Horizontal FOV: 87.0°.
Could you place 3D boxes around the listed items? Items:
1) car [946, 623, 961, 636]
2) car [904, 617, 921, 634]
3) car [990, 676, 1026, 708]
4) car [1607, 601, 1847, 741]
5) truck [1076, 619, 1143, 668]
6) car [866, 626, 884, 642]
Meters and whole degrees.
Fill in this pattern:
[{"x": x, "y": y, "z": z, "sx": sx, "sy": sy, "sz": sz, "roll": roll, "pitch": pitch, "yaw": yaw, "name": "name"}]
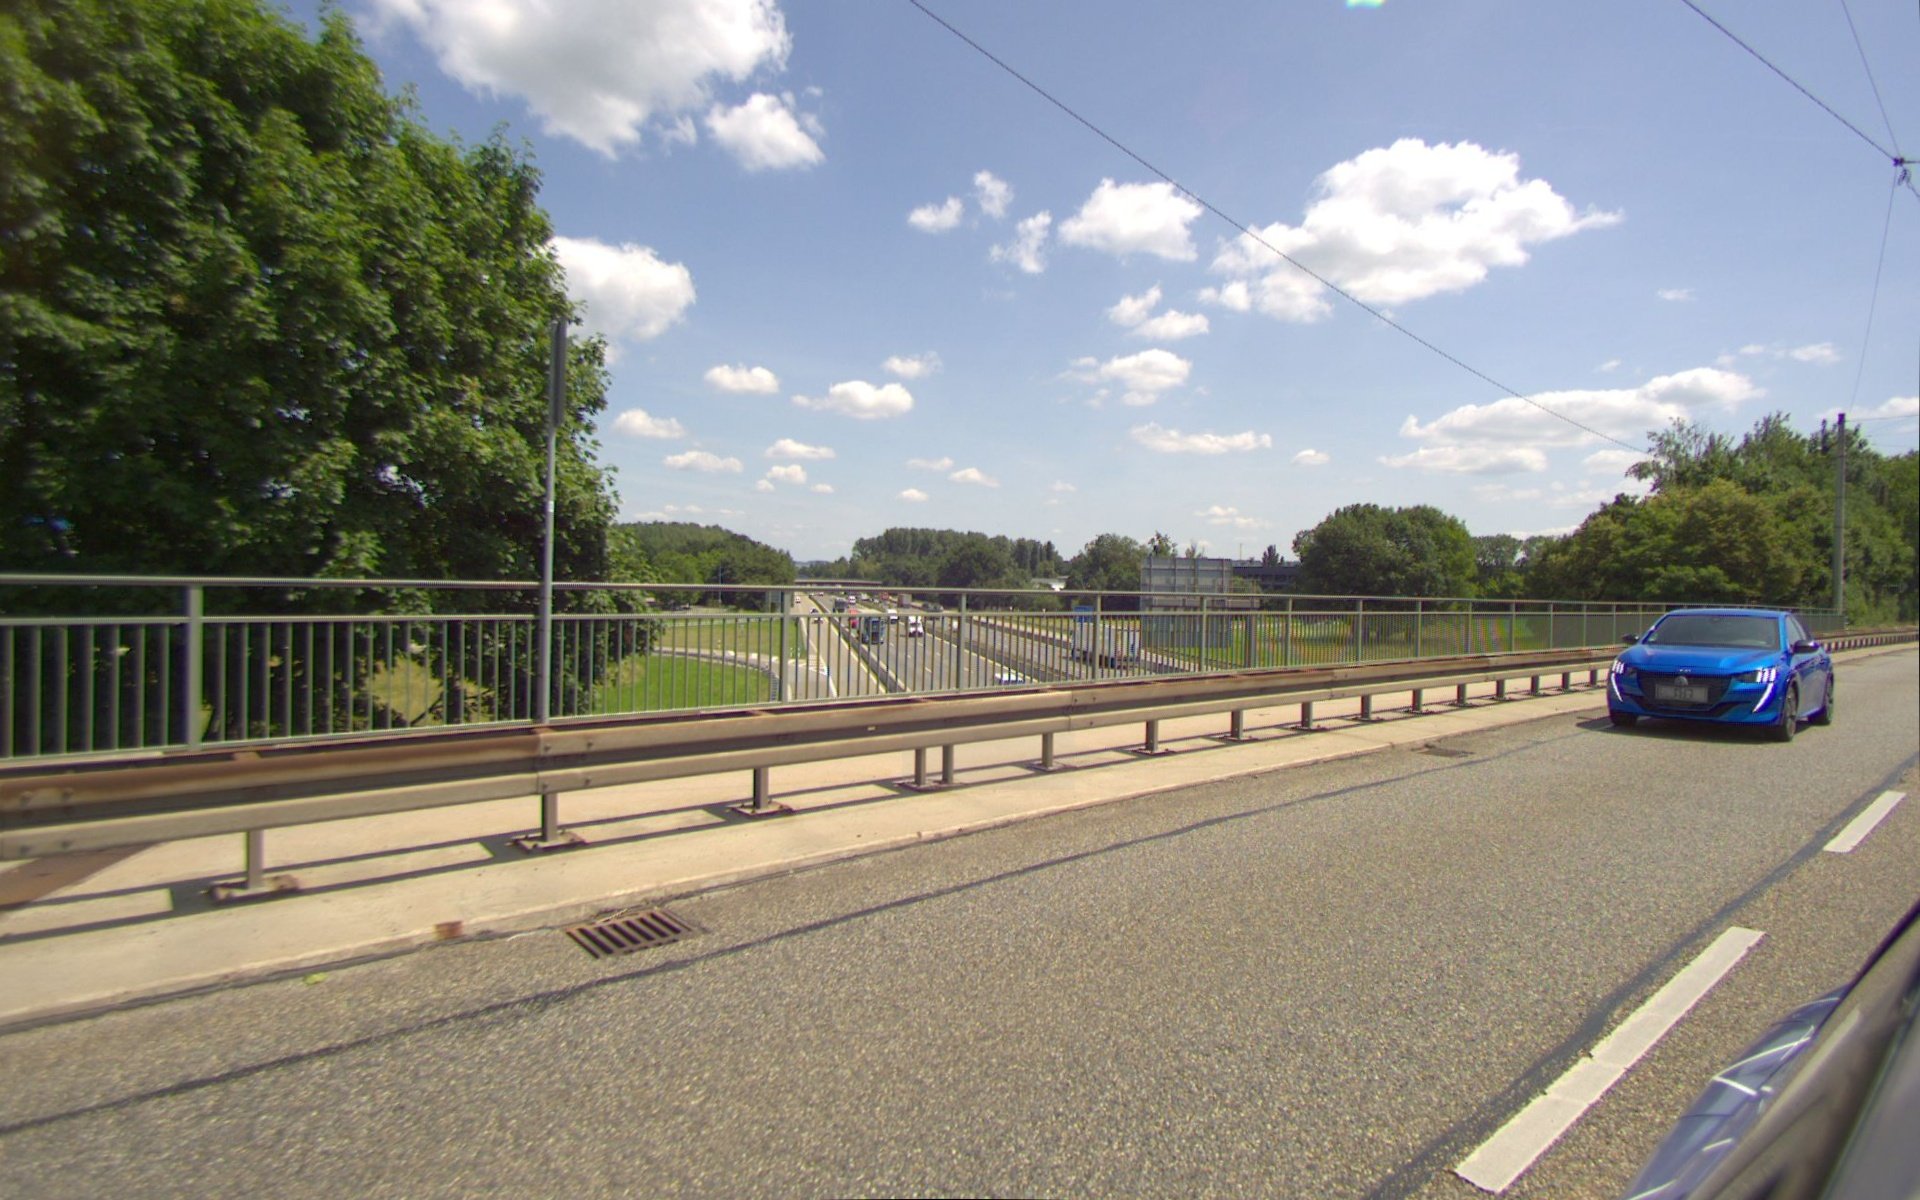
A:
[{"x": -1.077, "y": 4.637, "z": 159.613, "sx": 1.780, "sy": 1.883, "sz": 4.007, "roll": 0, "pitch": 0, "yaw": -10, "name": "car"}, {"x": -6.923, "y": 3.733, "z": 146.961, "sx": 1.921, "sy": 2.184, "sz": 4.004, "roll": -2, "pitch": -3, "yaw": -9, "name": "car"}, {"x": 3.210, "y": 6.138, "z": 68.225, "sx": 1.597, "sy": 1.951, "sz": 4.004, "roll": -2, "pitch": -3, "yaw": -9, "name": "car"}, {"x": 9.379, "y": 0.732, "z": 12.284, "sx": 3.679, "sy": 1.423, "sz": 1.658, "roll": 0, "pitch": 0, "yaw": -42, "name": "car"}, {"x": 15.690, "y": 4.434, "z": 107.741, "sx": 2.774, "sy": 4.272, "sz": 14.811, "roll": -1, "pitch": 1, "yaw": -8, "name": "truck"}, {"x": -11.045, "y": 4.437, "z": 131.381, "sx": 1.921, "sy": 1.951, "sz": 4.004, "roll": -2, "pitch": -3, "yaw": -9, "name": "car"}]
